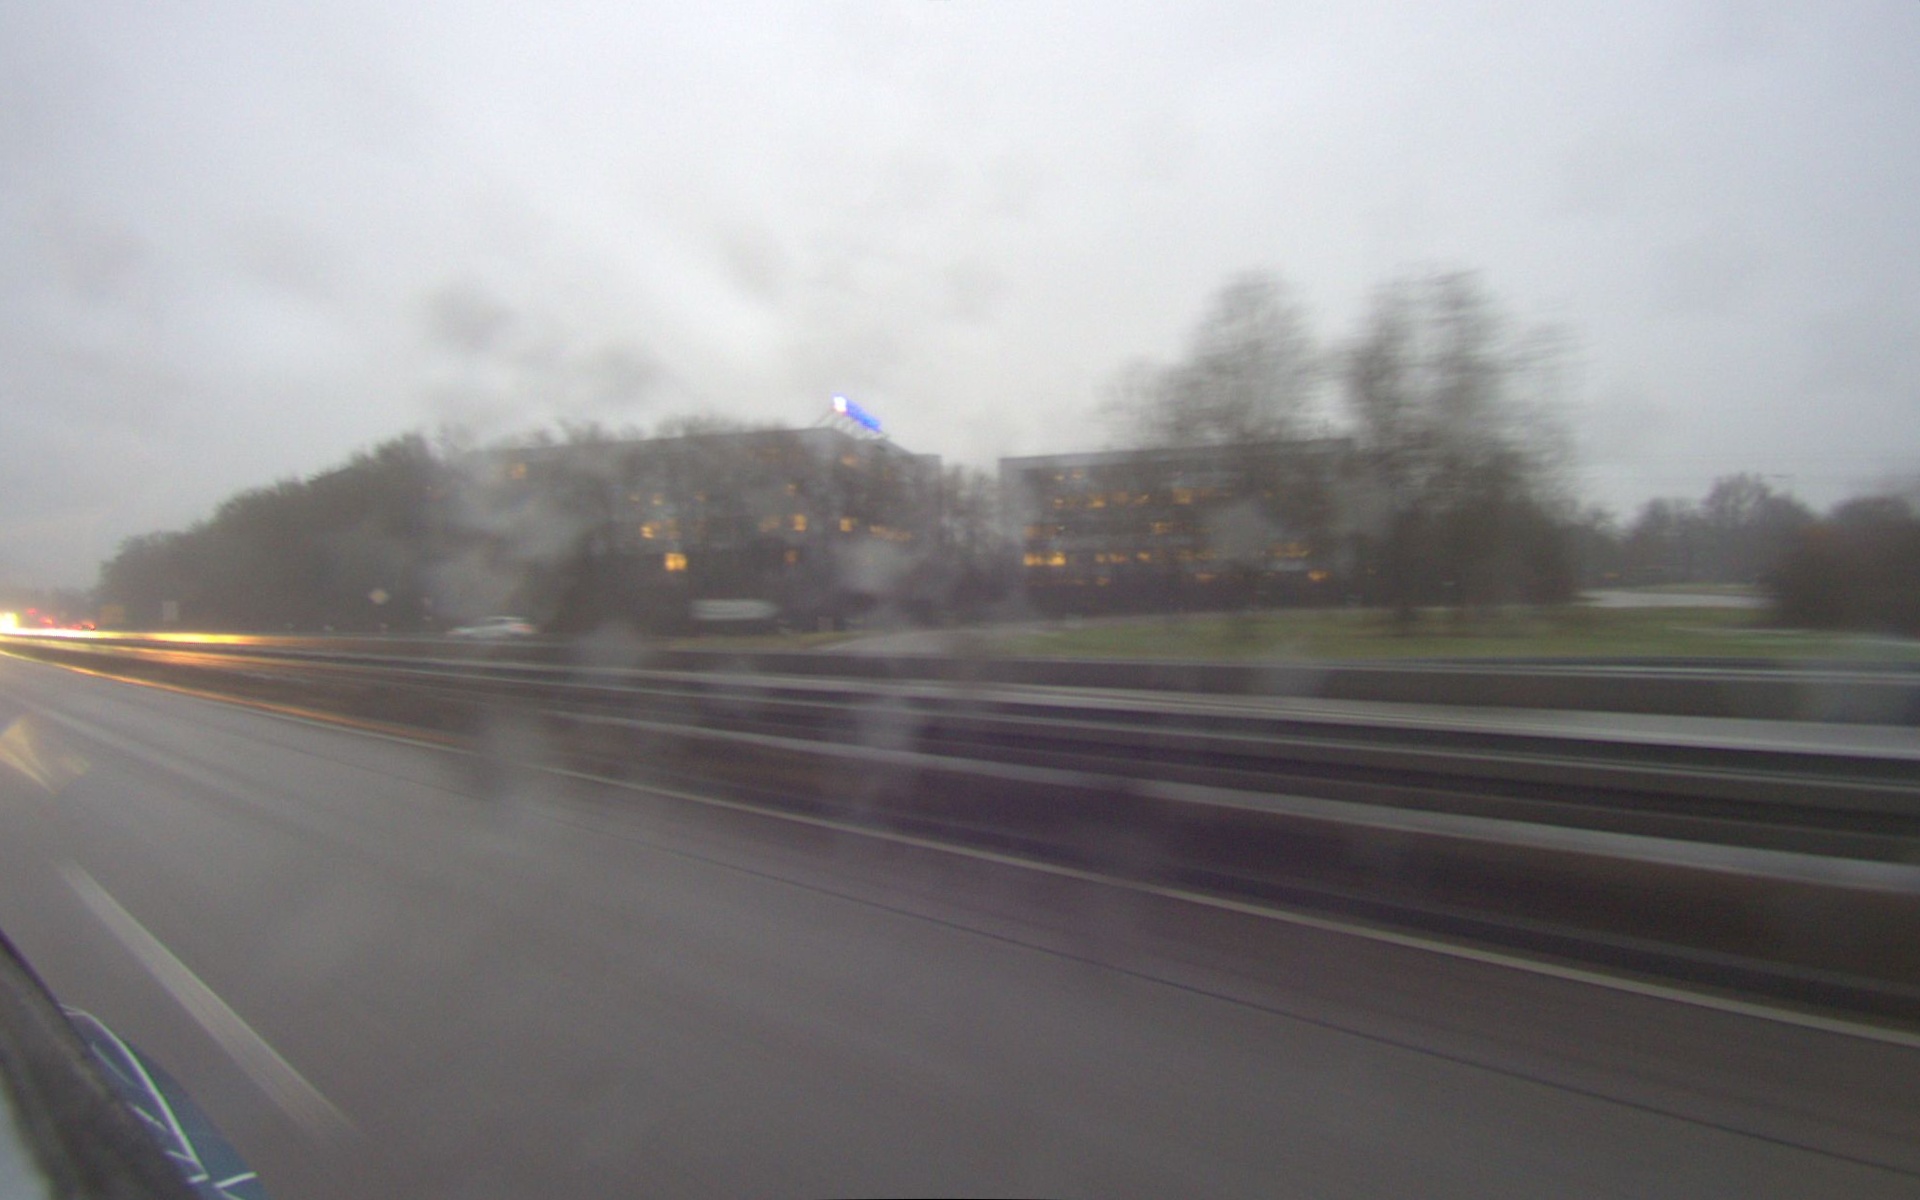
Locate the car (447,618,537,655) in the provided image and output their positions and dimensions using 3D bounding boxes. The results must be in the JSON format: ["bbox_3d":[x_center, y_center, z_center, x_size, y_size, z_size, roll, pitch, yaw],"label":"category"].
[{"bbox_3d":[-25.298,1.938,54.827,3.941,1.697,1.854,-3,1,-3],"label":"car"}]

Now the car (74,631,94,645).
[{"bbox_3d":[-117.804,5.087,136.140,4.209,1.799,1.625,-2,1,45],"label":"car"}]
